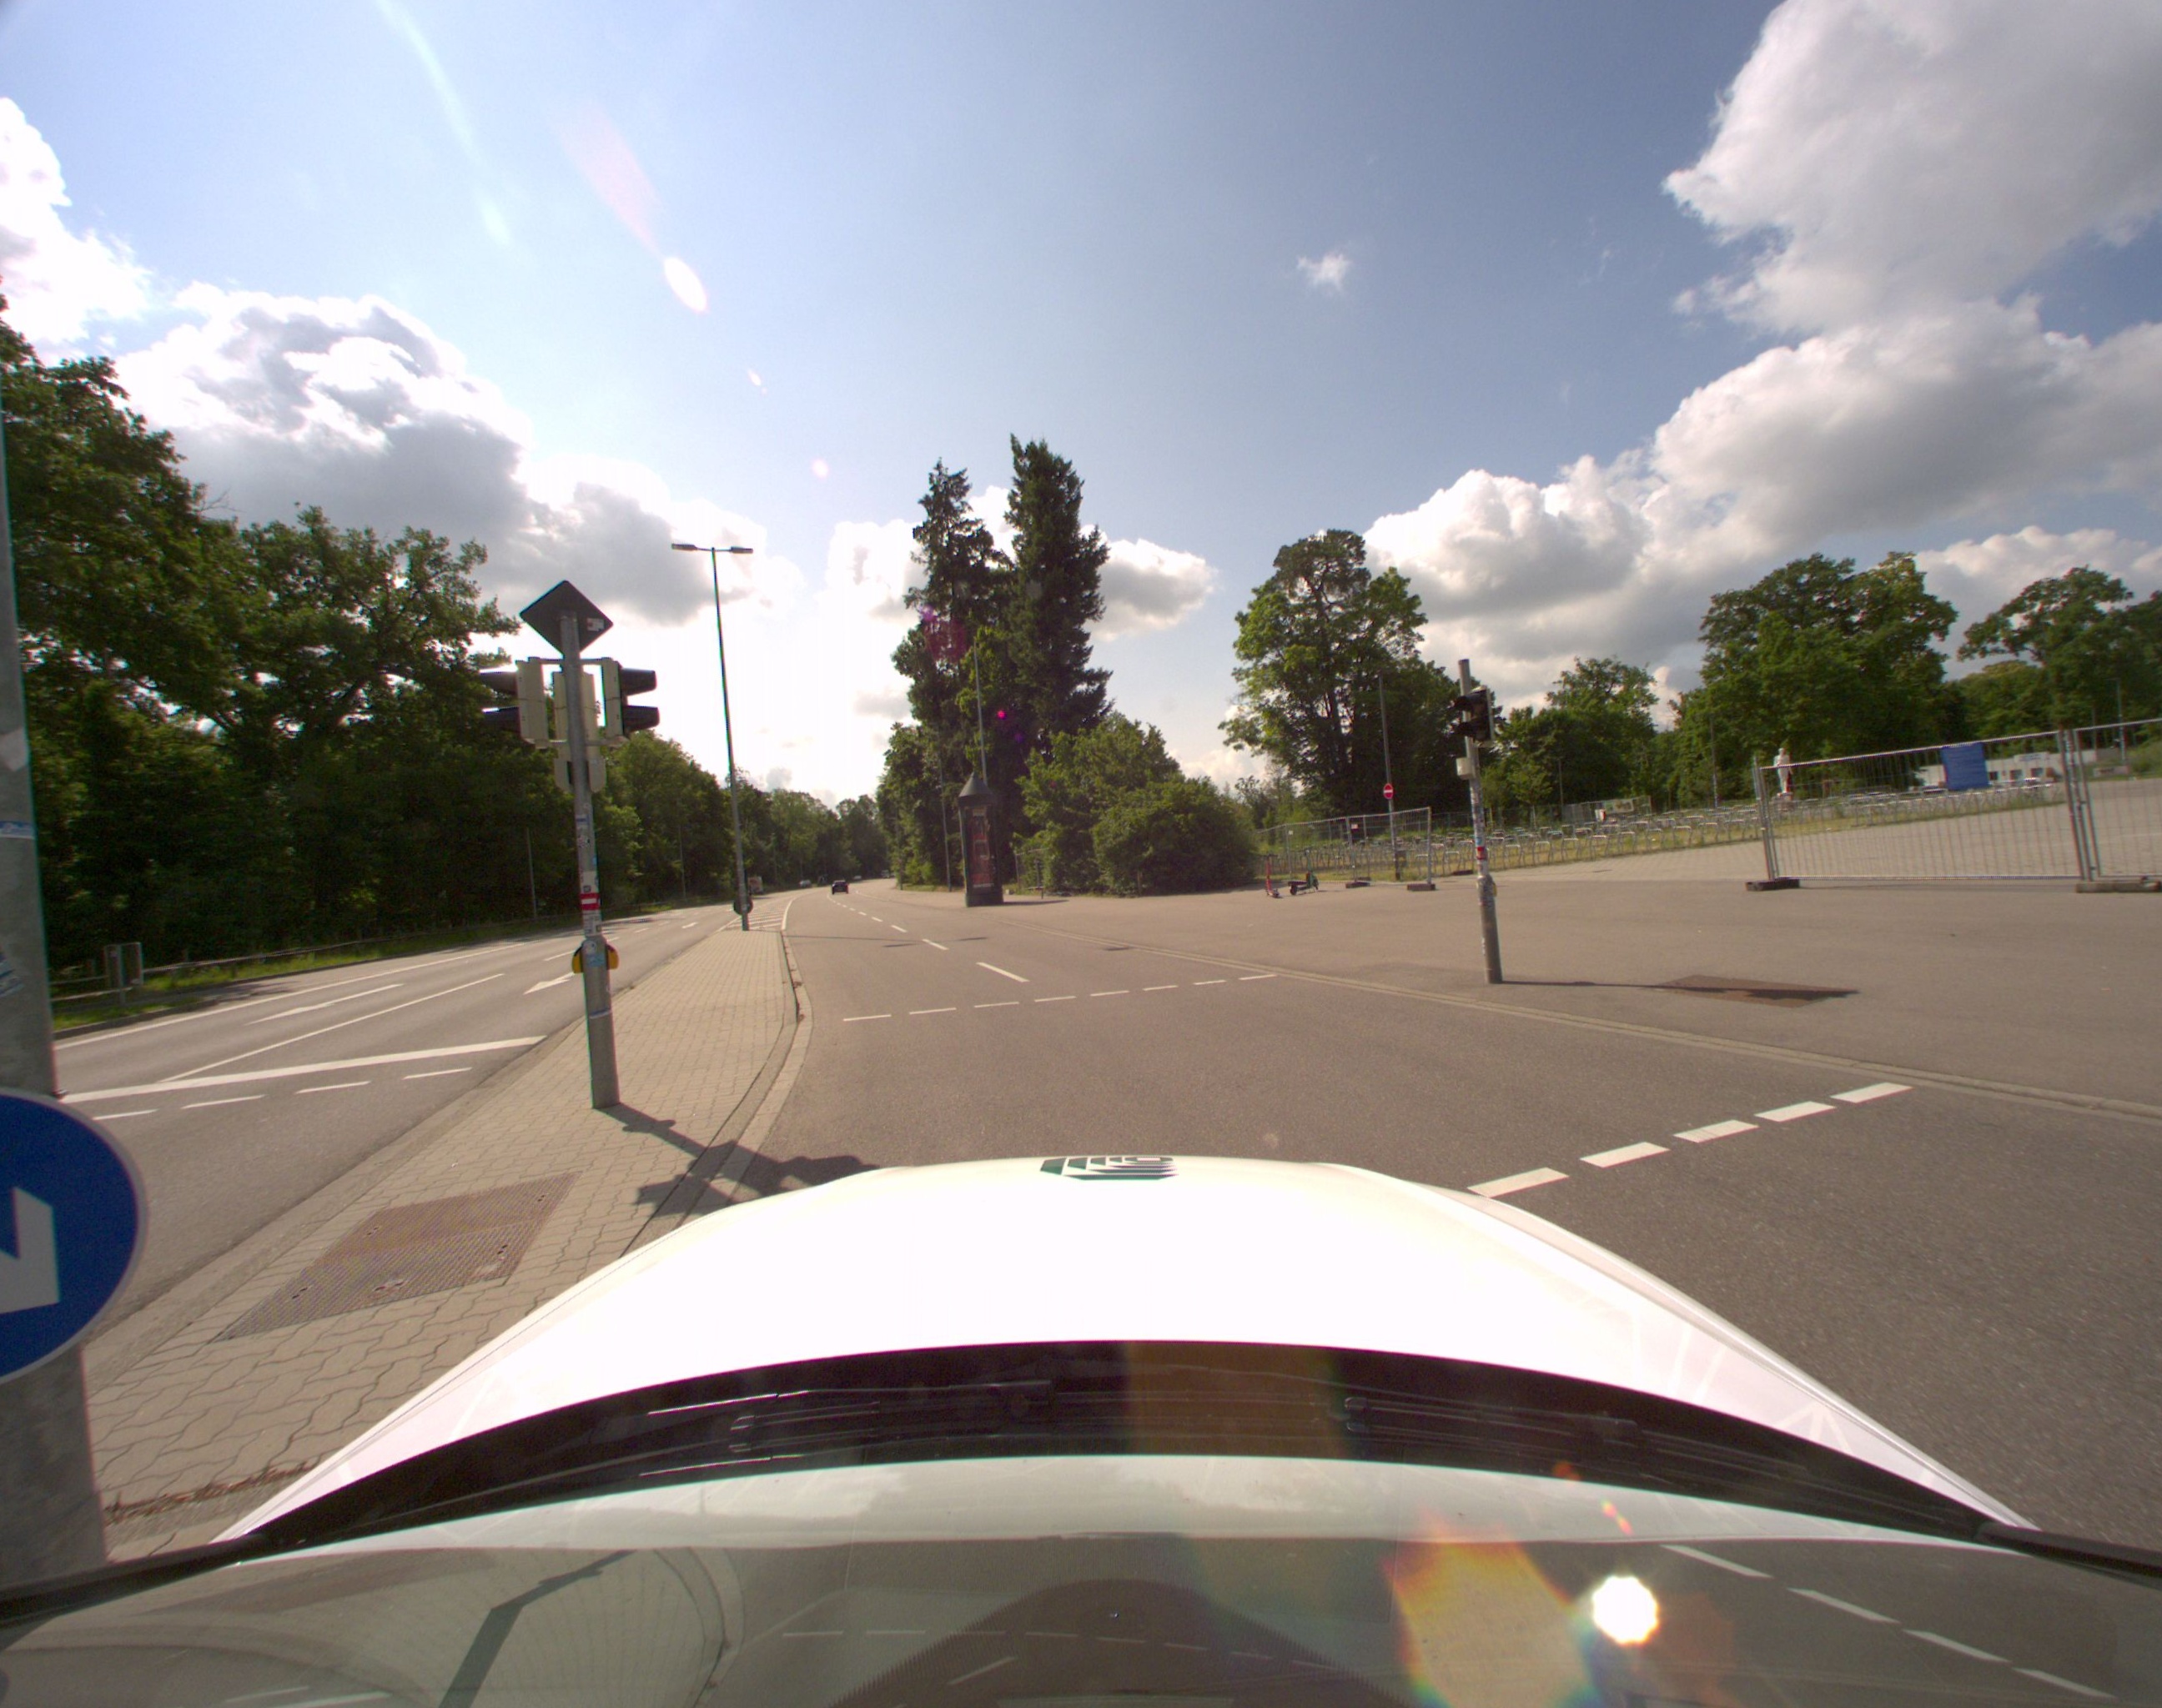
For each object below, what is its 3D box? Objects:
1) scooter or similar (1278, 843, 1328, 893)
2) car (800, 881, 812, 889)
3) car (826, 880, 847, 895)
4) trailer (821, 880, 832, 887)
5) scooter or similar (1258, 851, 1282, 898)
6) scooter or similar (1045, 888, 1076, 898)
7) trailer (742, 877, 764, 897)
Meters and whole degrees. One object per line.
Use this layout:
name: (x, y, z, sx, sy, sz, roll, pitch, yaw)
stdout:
scooter or similar: (6.214, 0.392, 22.754, 1.315, 1.252, 0.403, -6, 0, -28)
car: (-52.552, 5.932, 155.435, 1.503, 1.446, 3.518, -4, -1, -9)
car: (-26.488, 3.623, 88.307, 1.597, 1.378, 3.964, -4, -1, -8)
trailer: (-55.468, 6.425, 177.720, 1.716, 1.354, 3.720, -4, -1, -9)
scooter or similar: (5.185, 0.546, 22.361, 0.404, 1.200, 1.314, -6, 0, 7)
scooter or similar: (-0.879, 1.636, 34.048, 0.856, 0.389, 1.463, 1, -2, -22)
trailer: (-43.280, 4.315, 107.464, 1.996, 2.388, 3.981, -4, -1, -13)
